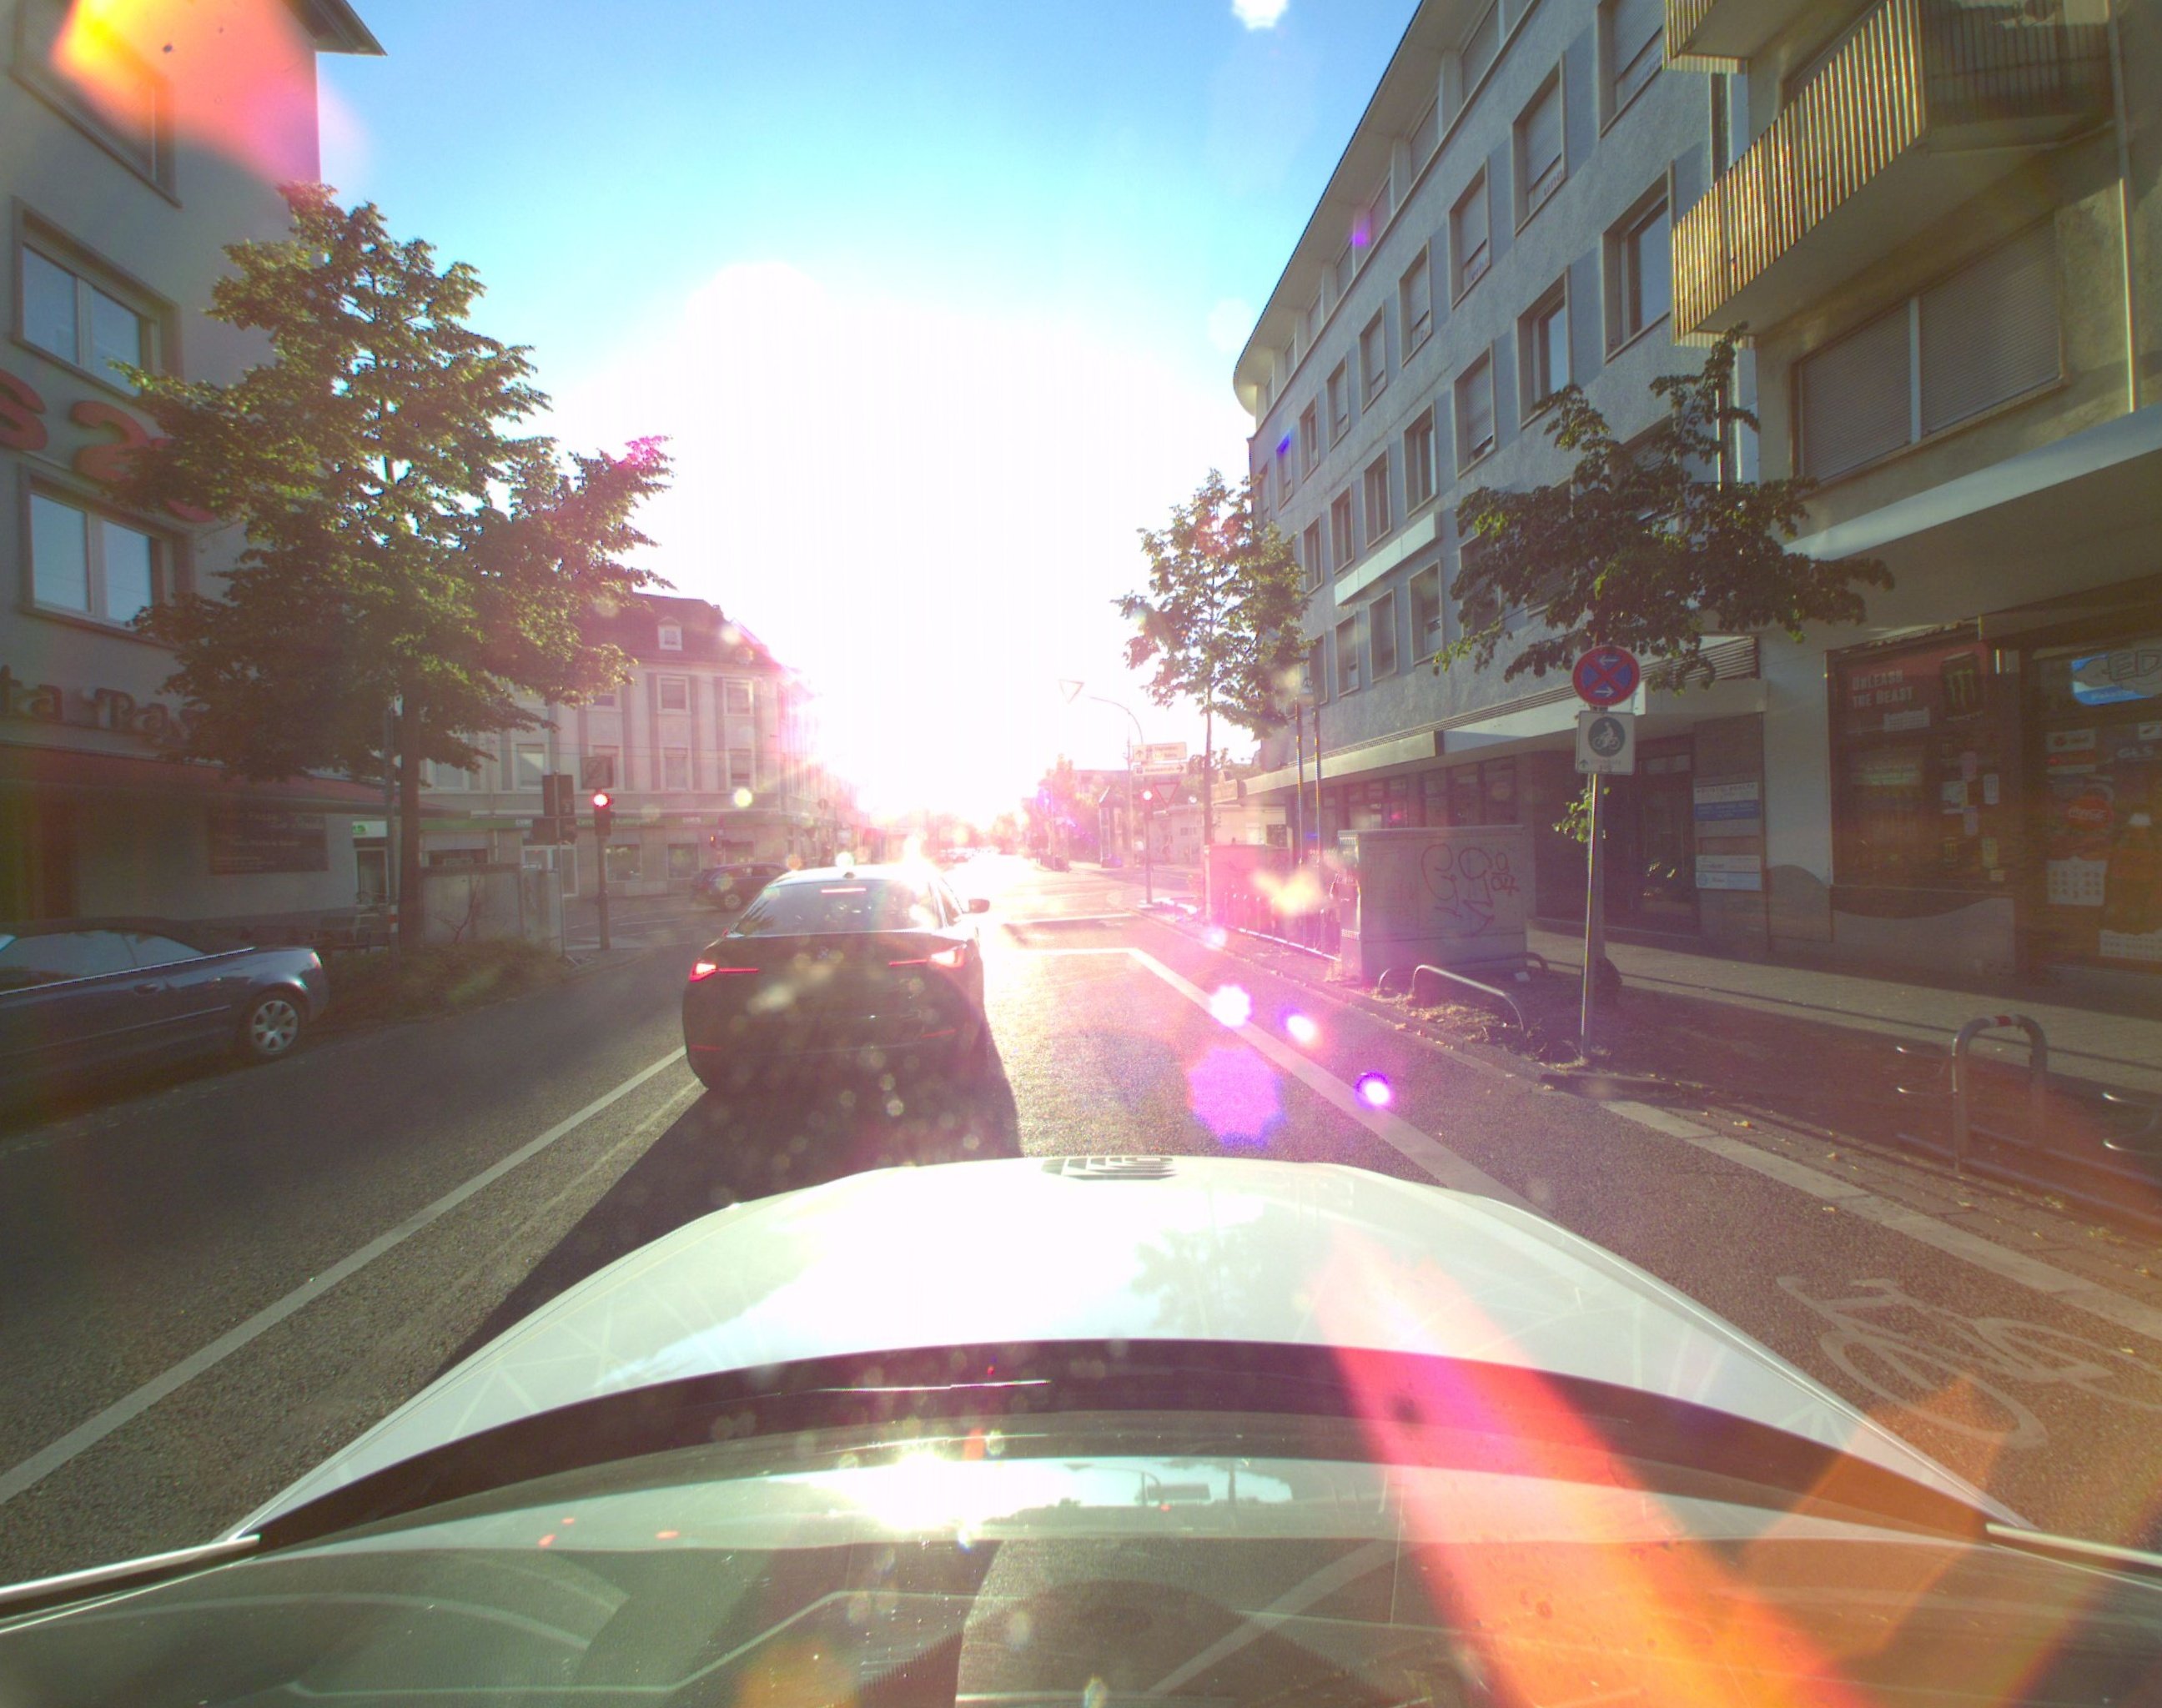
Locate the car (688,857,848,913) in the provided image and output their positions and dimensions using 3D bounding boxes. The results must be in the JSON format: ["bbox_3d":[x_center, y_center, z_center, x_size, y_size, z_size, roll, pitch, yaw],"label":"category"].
[{"bbox_3d":[-9.865,0.919,25.779,4.436,1.473,1.799,-2,1,-32],"label":"car"}]

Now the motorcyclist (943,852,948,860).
[{"bbox_3d":[-15.655,0.229,94.217,0.574,0.995,0.701,0,0,-6],"label":"motorcyclist"}]

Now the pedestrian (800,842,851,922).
[{"bbox_3d":[-6.245,0.669,19.868,1.006,1.860,0.634,-4,1,-27],"label":"pedestrian"}]

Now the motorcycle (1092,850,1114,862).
[{"bbox_3d":[1.829,0.198,67.987,1.673,0.939,0.851,-2,1,-18],"label":"motorcycle"}]

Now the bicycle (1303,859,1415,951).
[{"bbox_3d":[3.847,0.693,11.309,1.438,1.220,0.383,0,0,-5],"label":"bicycle"}]

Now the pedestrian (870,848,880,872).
[{"bbox_3d":[-16.473,0.501,65.112,0.675,1.876,0.617,0,0,-3],"label":"pedestrian"}]

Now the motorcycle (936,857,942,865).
[{"bbox_3d":[-16.511,0.765,94.723,0.574,0.915,2.196,0,0,-6],"label":"motorcycle"}]

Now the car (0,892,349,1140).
[{"bbox_3d":[-7.644,1.127,5.540,1.721,1.415,4.270,-4,0,-7],"label":"car"}]

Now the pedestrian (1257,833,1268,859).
[{"bbox_3d":[12.176,-0.526,54.724,0.481,1.734,0.526,0,0,-31],"label":"pedestrian"}]

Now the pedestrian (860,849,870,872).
[{"bbox_3d":[-17.196,0.508,64.837,0.642,1.876,0.630,0,0,-7],"label":"pedestrian"}]

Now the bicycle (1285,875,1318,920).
[{"bbox_3d":[4.167,0.805,15.410,0.249,0.796,1.114,0,0,-4],"label":"bicycle"}]

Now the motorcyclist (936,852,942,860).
[{"bbox_3d":[-16.520,0.233,94.744,0.574,0.915,2.196,0,0,-6],"label":"motorcyclist"}]

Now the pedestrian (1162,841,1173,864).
[{"bbox_3d":[5.691,-0.109,53.774,0.729,1.529,0.473,0,0,5],"label":"pedestrian"}]

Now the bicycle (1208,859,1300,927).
[{"bbox_3d":[3.222,0.721,15.196,1.610,1.171,0.318,-2,0,-5],"label":"bicycle"}]

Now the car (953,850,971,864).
[{"bbox_3d":[-13.927,0.295,95.194,1.816,1.519,3.992,-2,1,-6],"label":"car"}]

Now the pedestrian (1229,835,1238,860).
[{"bbox_3d":[10.377,-0.443,55.403,0.445,1.734,0.429,0,0,-31],"label":"pedestrian"}]

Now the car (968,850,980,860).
[{"bbox_3d":[-18.117,0.108,137.820,1.816,1.519,3.992,-2,1,-6],"label":"car"}]

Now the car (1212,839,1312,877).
[{"bbox_3d":[8.346,0.158,37.417,4.336,1.498,1.980,-3,1,-32],"label":"car"}]

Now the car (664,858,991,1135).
[{"bbox_3d":[-1.647,0.784,6.629,1.735,1.428,4.213,-1,0,-7],"label":"car"}]

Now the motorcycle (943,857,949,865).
[{"bbox_3d":[-15.664,0.760,94.317,0.574,0.915,2.196,0,0,-6],"label":"motorcycle"}]

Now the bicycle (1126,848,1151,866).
[{"bbox_3d":[3.802,0.191,54.201,0.553,1.159,2.123,-1,0,-30],"label":"bicycle"}]

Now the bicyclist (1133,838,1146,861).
[{"bbox_3d":[3.863,-0.305,54.085,0.553,1.481,0.715,-1,-1,-30],"label":"bicyclist"}]
